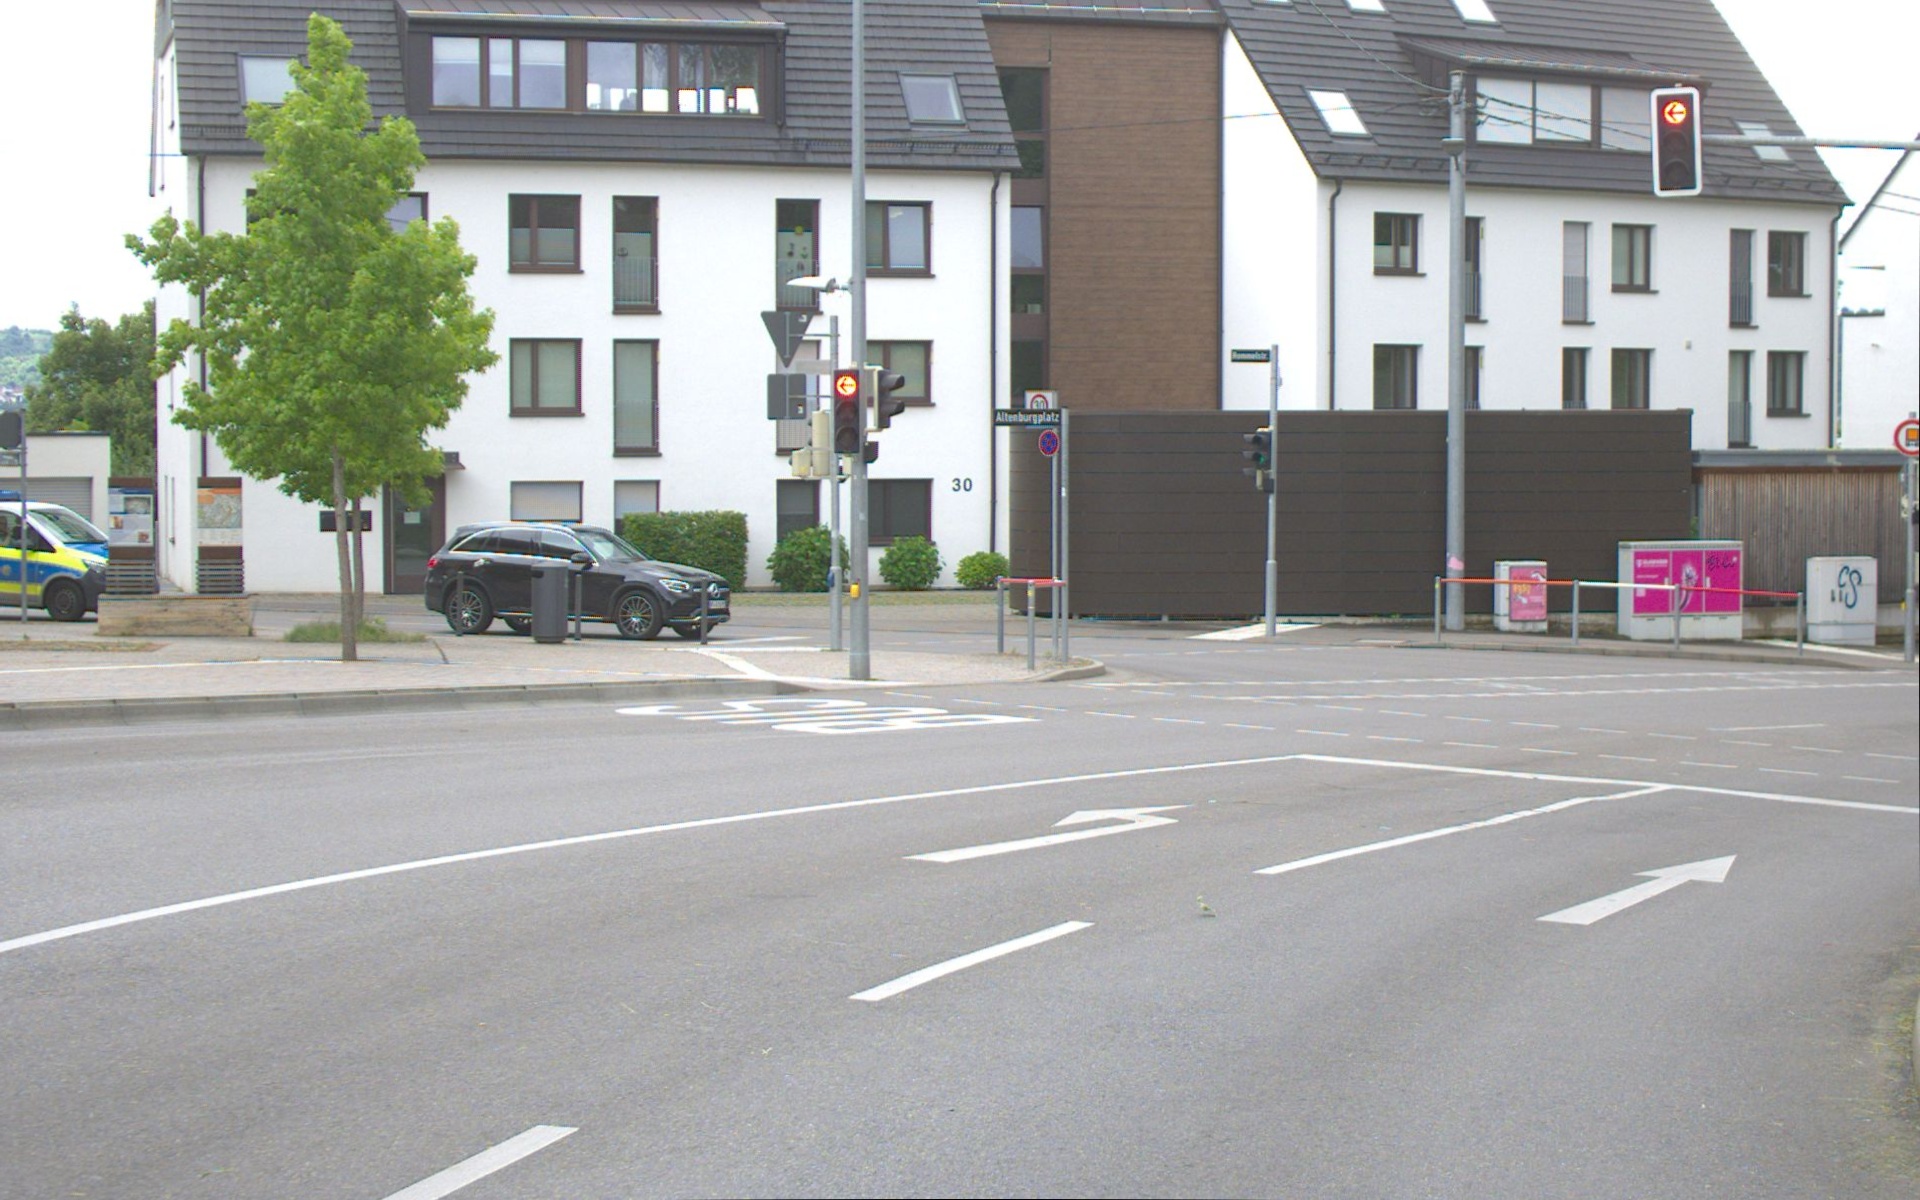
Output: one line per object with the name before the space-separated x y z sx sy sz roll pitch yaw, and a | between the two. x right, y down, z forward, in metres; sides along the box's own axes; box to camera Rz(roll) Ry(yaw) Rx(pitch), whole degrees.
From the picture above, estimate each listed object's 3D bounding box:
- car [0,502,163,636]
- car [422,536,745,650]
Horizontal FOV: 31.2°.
car | -15.431 -0.537 54.398 5.077 2.007 1.999 2 0 11
car | -5.555 -0.103 50.705 4.265 1.508 1.997 2 0 23
